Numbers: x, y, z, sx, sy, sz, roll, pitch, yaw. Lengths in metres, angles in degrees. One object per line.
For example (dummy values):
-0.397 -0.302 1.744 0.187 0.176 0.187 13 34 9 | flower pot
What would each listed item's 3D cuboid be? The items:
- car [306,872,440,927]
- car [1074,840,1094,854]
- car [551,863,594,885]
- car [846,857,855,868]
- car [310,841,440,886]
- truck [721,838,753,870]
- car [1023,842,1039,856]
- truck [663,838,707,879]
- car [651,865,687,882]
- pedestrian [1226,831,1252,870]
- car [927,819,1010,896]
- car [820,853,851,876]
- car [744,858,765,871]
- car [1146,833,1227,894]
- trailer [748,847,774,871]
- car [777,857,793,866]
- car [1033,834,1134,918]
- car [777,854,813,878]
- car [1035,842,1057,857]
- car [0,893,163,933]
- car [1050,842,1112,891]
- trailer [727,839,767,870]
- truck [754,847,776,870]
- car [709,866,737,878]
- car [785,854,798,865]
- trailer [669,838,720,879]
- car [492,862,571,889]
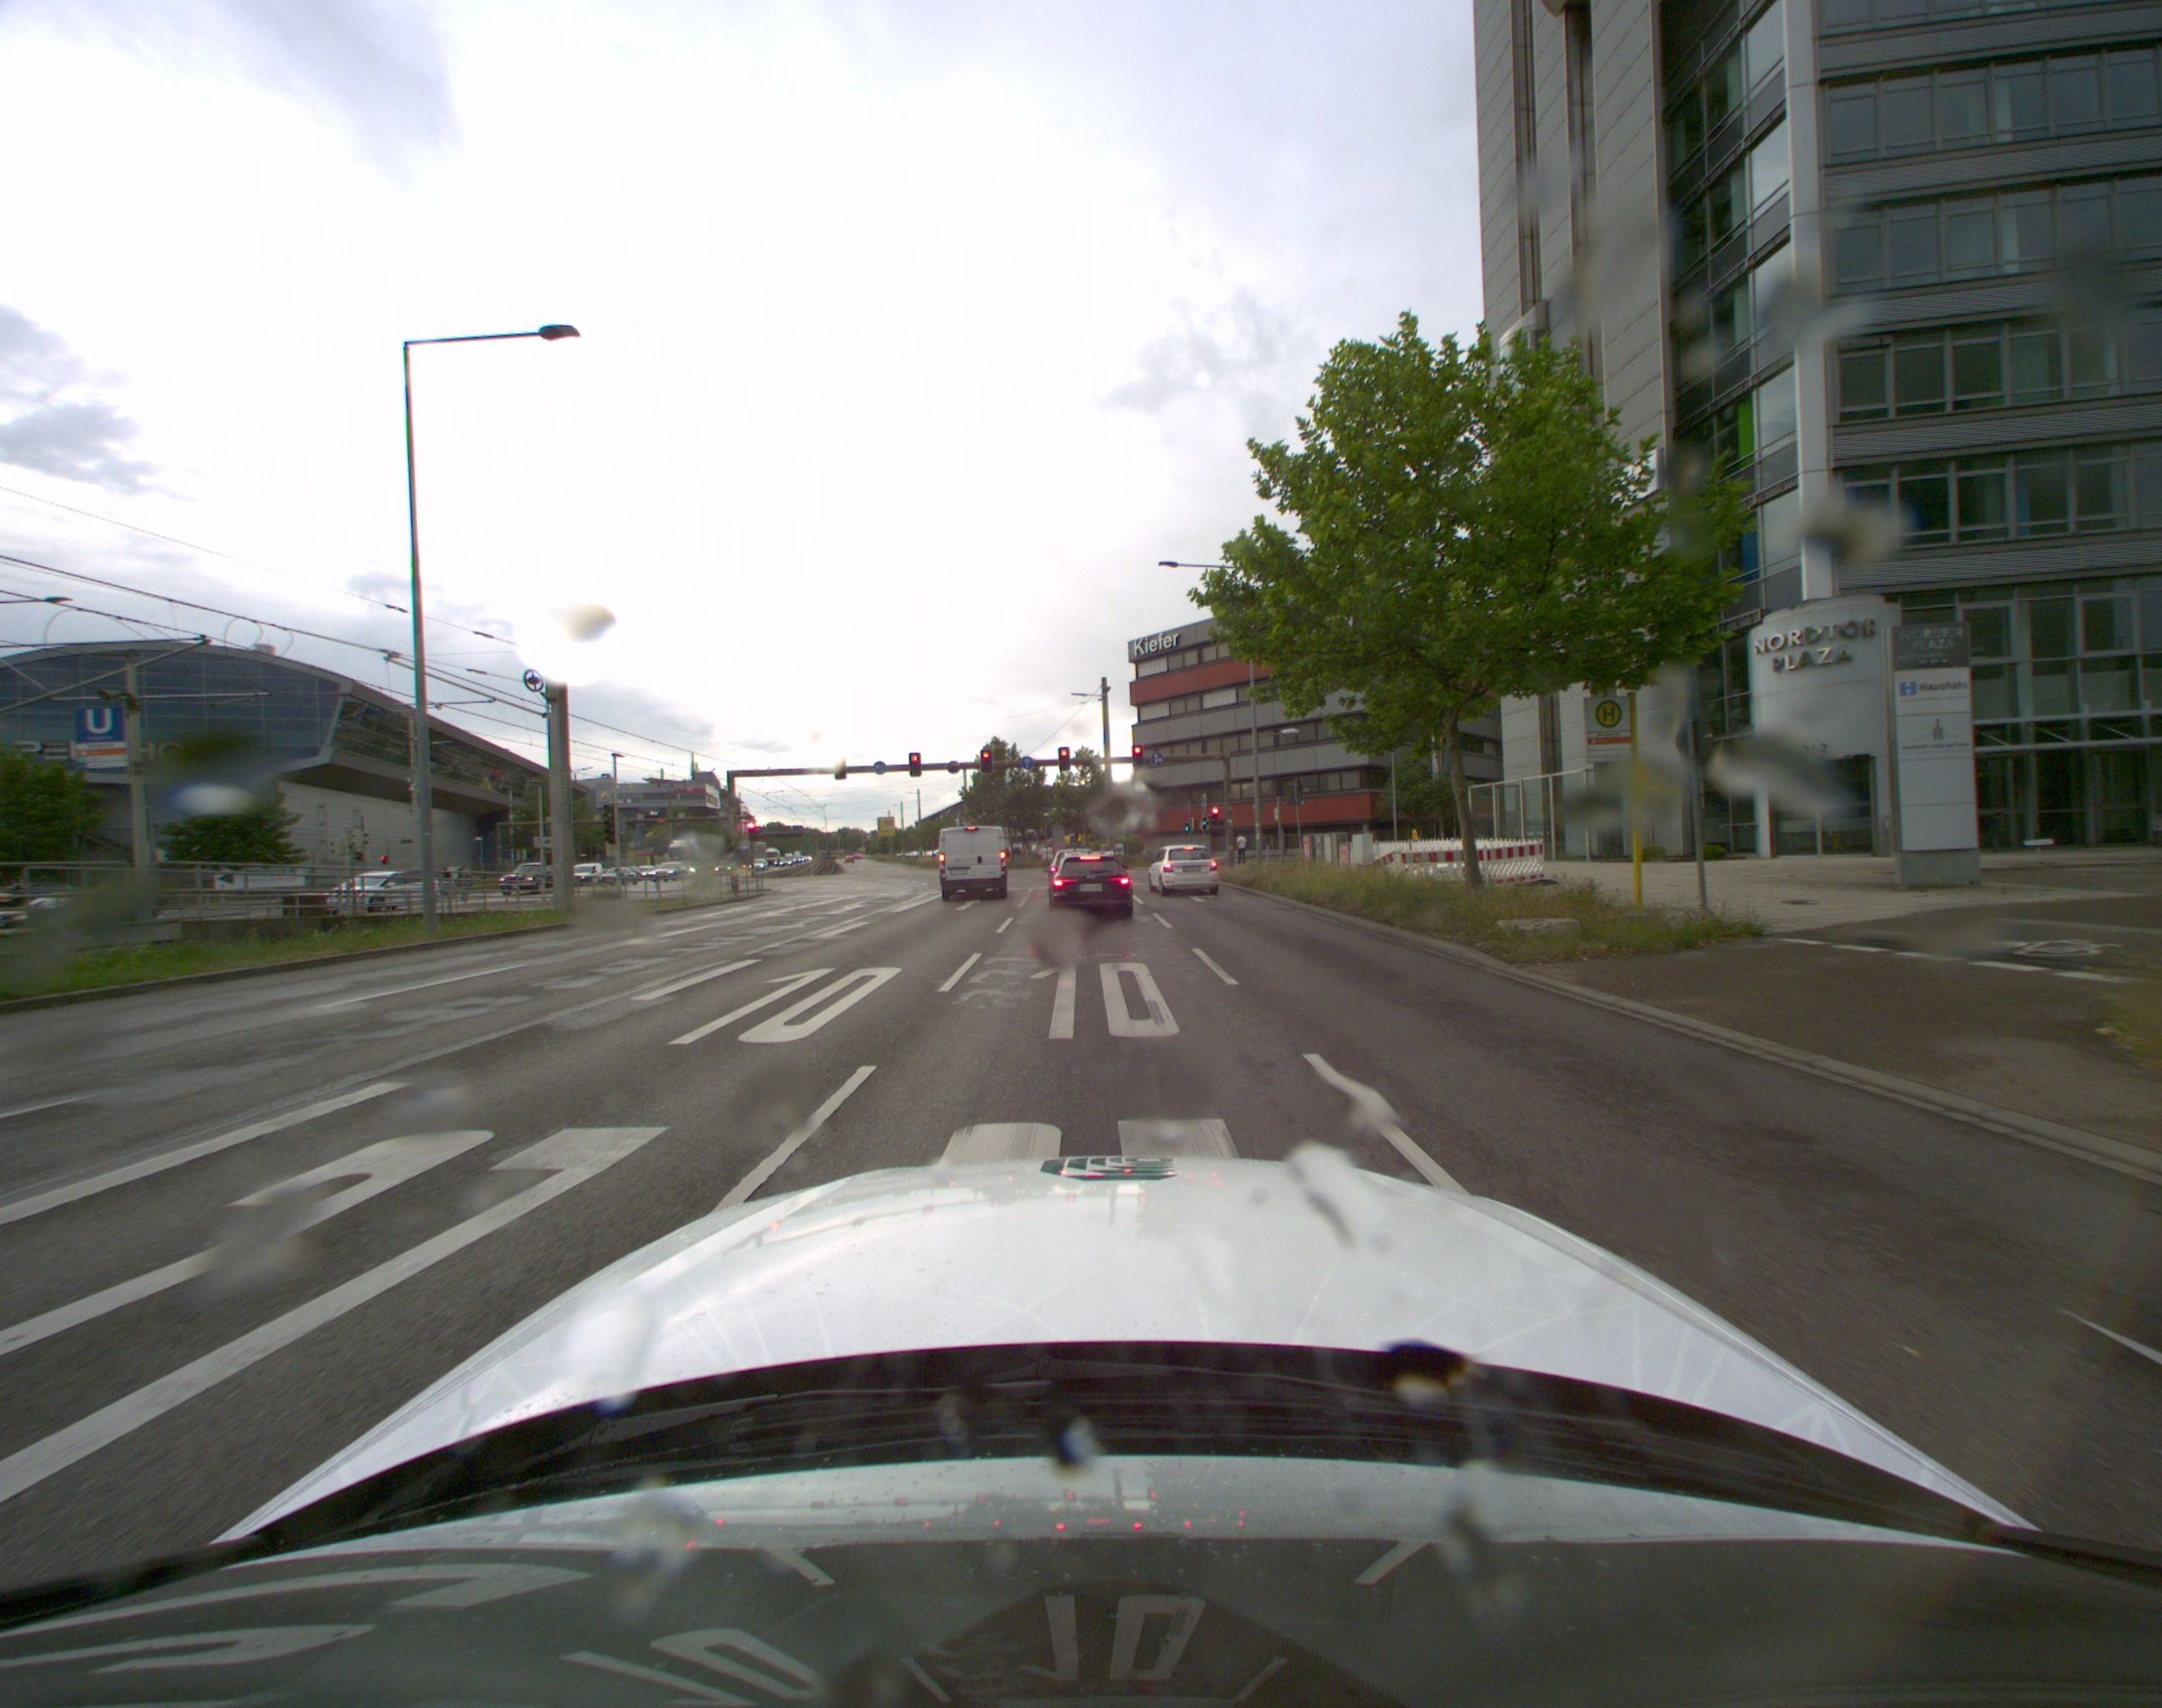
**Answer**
-28.398 1.748 32.872 1.769 2.014 4.342 0 -1 -3 | car
0.384 -1.051 125.079 1.877 2.014 3.747 0 -1 -21 | car
-39.882 1.564 63.973 1.573 1.627 4.065 0 0 -12 | car
-46.392 1.714 163.833 1.776 2.014 4.325 0 -1 -15 | car
-28.263 0.373 32.810 1.523 1.666 4.267 0 -1 -1 | car
-47.530 0.061 112.664 2.667 4.130 6.163 -3 0 -10 | truck
-7.449 -0.716 121.628 1.683 2.014 3.522 0 -1 -16 | car
-40.872 0.468 84.214 2.837 3.995 5.955 -2 1 -15 | truck
-35.484 1.655 70.222 1.740 1.462 4.135 0 -1 -12 | car
9.041 -0.217 46.534 1.140 2.125 1.222 -3 2 -1 | pedestrian
-3.607 0.116 26.809 2.442 2.294 4.894 0 -1 -6 | car
-22.807 0.930 75.830 1.769 2.013 4.342 0 0 -3 | car
-42.709 1.396 106.649 1.888 1.652 4.079 0 -1 -11 | car
3.130 0.289 24.838 1.824 1.656 3.997 -1 -1 -2 | car
-58.959 0.963 149.796 2.742 3.854 11.122 -3 0 -29 | trailer
-49.955 1.220 137.661 1.905 1.555 4.546 0 0 -12 | car
0.052 0.470 18.464 1.987 1.637 3.999 -2 -1 0 | car
-24.720 0.993 70.449 1.769 2.013 4.342 0 1 -3 | car
-4.852 -0.616 112.857 1.998 2.032 3.978 -3 0 -16 | car
-34.583 1.966 27.992 1.521 1.131 3.935 0 -1 1 | car
0.046 0.415 27.591 1.887 1.465 3.910 -2 0 1 | car
-48.645 0.179 118.935 2.651 4.124 12.698 -3 0 -11 | trailer
-56.144 0.847 144.750 2.763 3.805 5.359 -4 0 -30 | truck
-37.842 1.913 86.224 1.910 1.264 4.393 0 -1 -14 | car
-54.921 0.989 154.455 1.998 1.837 4.880 -2 1 -17 | car
-42.325 0.456 89.626 2.799 4.107 11.385 -3 1 -15 | trailer
-32.453 1.215 48.286 1.674 1.498 4.923 0 -1 -5 | car
